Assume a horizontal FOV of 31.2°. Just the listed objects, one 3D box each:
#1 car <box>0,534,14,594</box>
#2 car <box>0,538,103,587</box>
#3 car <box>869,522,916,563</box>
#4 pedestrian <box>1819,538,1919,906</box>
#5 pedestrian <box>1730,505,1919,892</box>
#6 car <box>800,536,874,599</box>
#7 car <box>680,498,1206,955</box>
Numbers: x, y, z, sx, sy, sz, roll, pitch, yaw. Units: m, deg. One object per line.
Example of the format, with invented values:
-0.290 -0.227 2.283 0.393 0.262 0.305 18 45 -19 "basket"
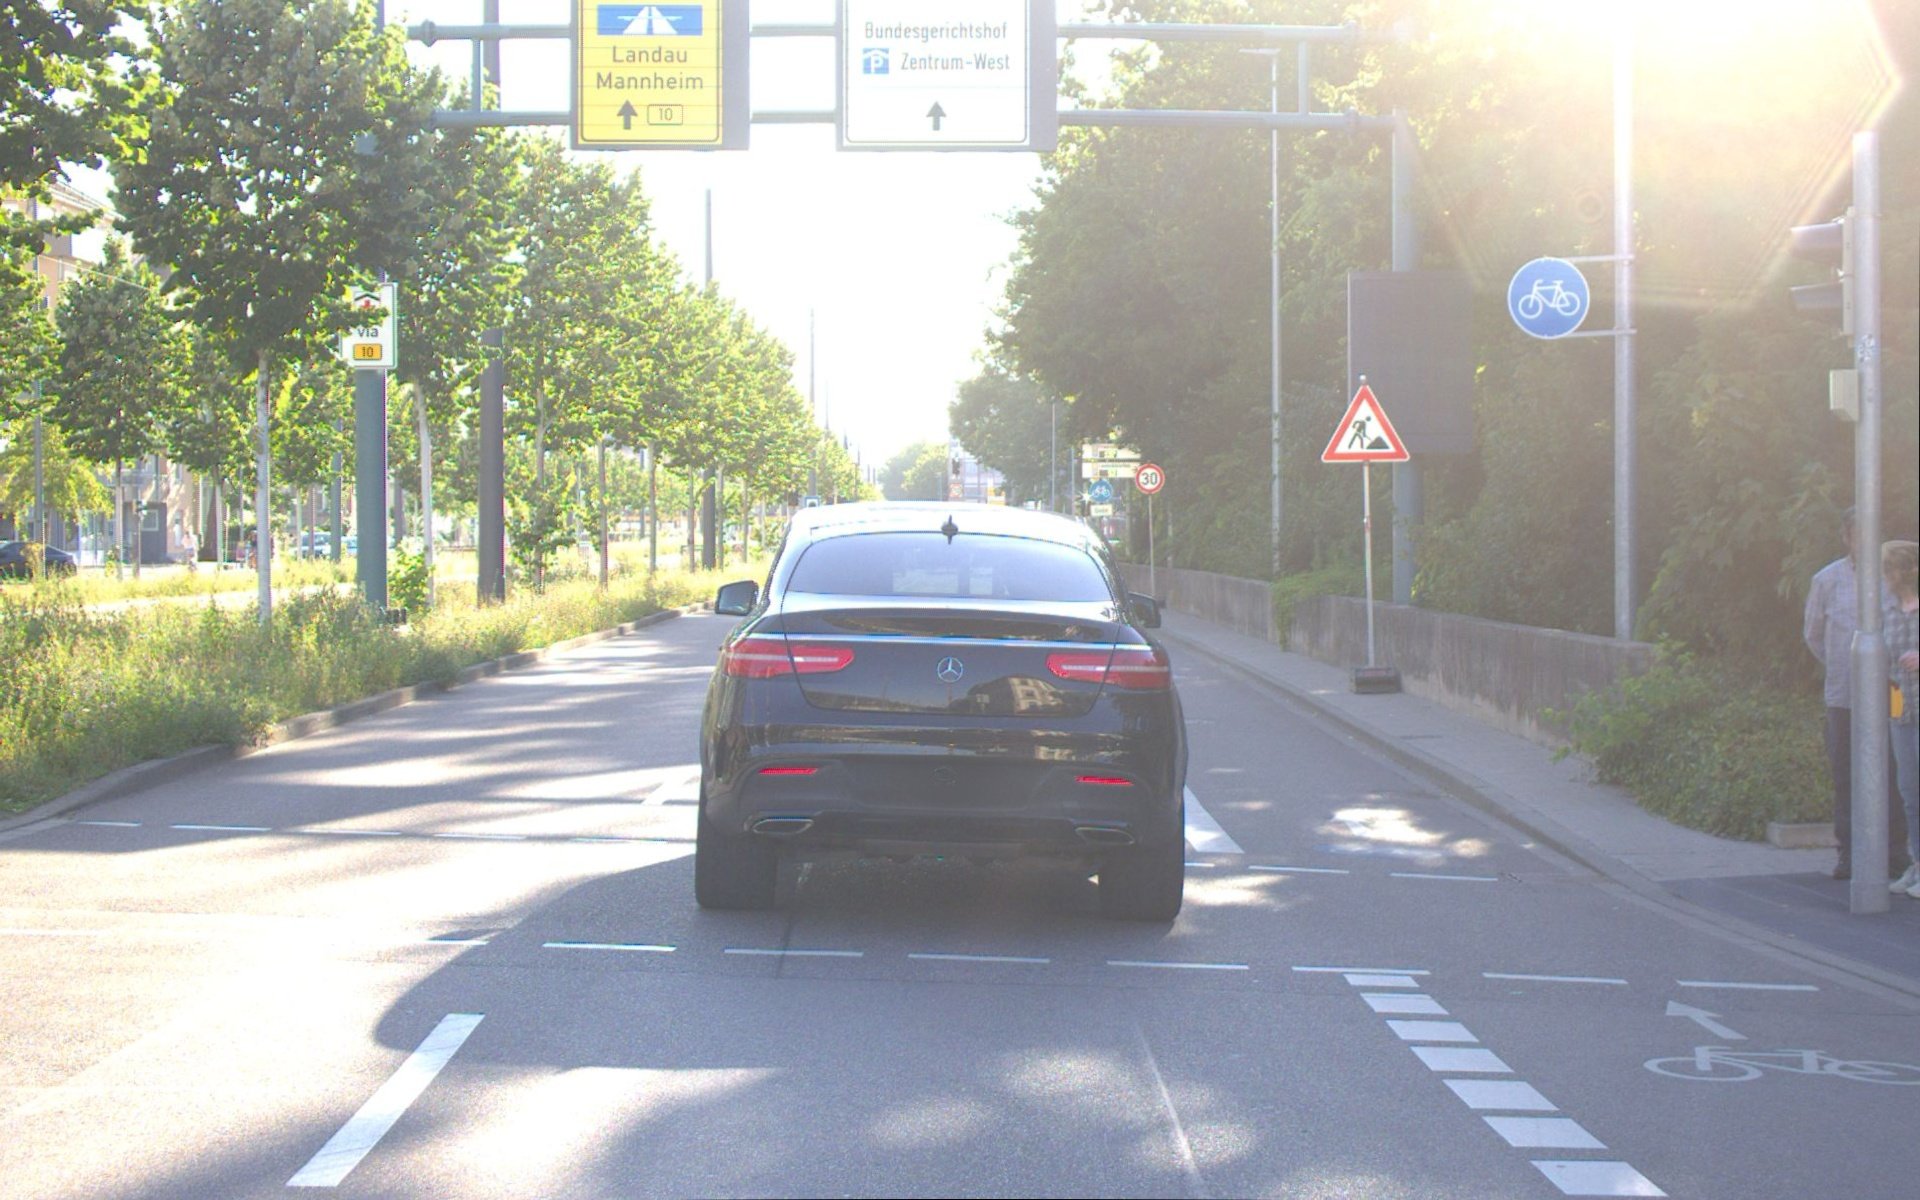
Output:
-31.211 -1.139 105.546 3.748 1.823 1.824 0 1 -40 "car"
-31.124 -1.264 115.580 3.989 1.557 1.999 0 1 -42 "car"
-2.776 -2.377 141.800 1.885 1.575 4.001 1 2 -1 "car"
4.488 0.532 15.785 0.766 1.631 0.770 -2 1 -9 "pedestrian"
4.391 0.447 16.637 0.857 1.796 0.907 -3 1 -34 "pedestrian"
-3.281 -0.895 92.559 1.885 1.575 4.001 1 2 -1 "car"
-0.156 0.446 15.219 1.993 1.728 4.001 1 1 -3 "car"
